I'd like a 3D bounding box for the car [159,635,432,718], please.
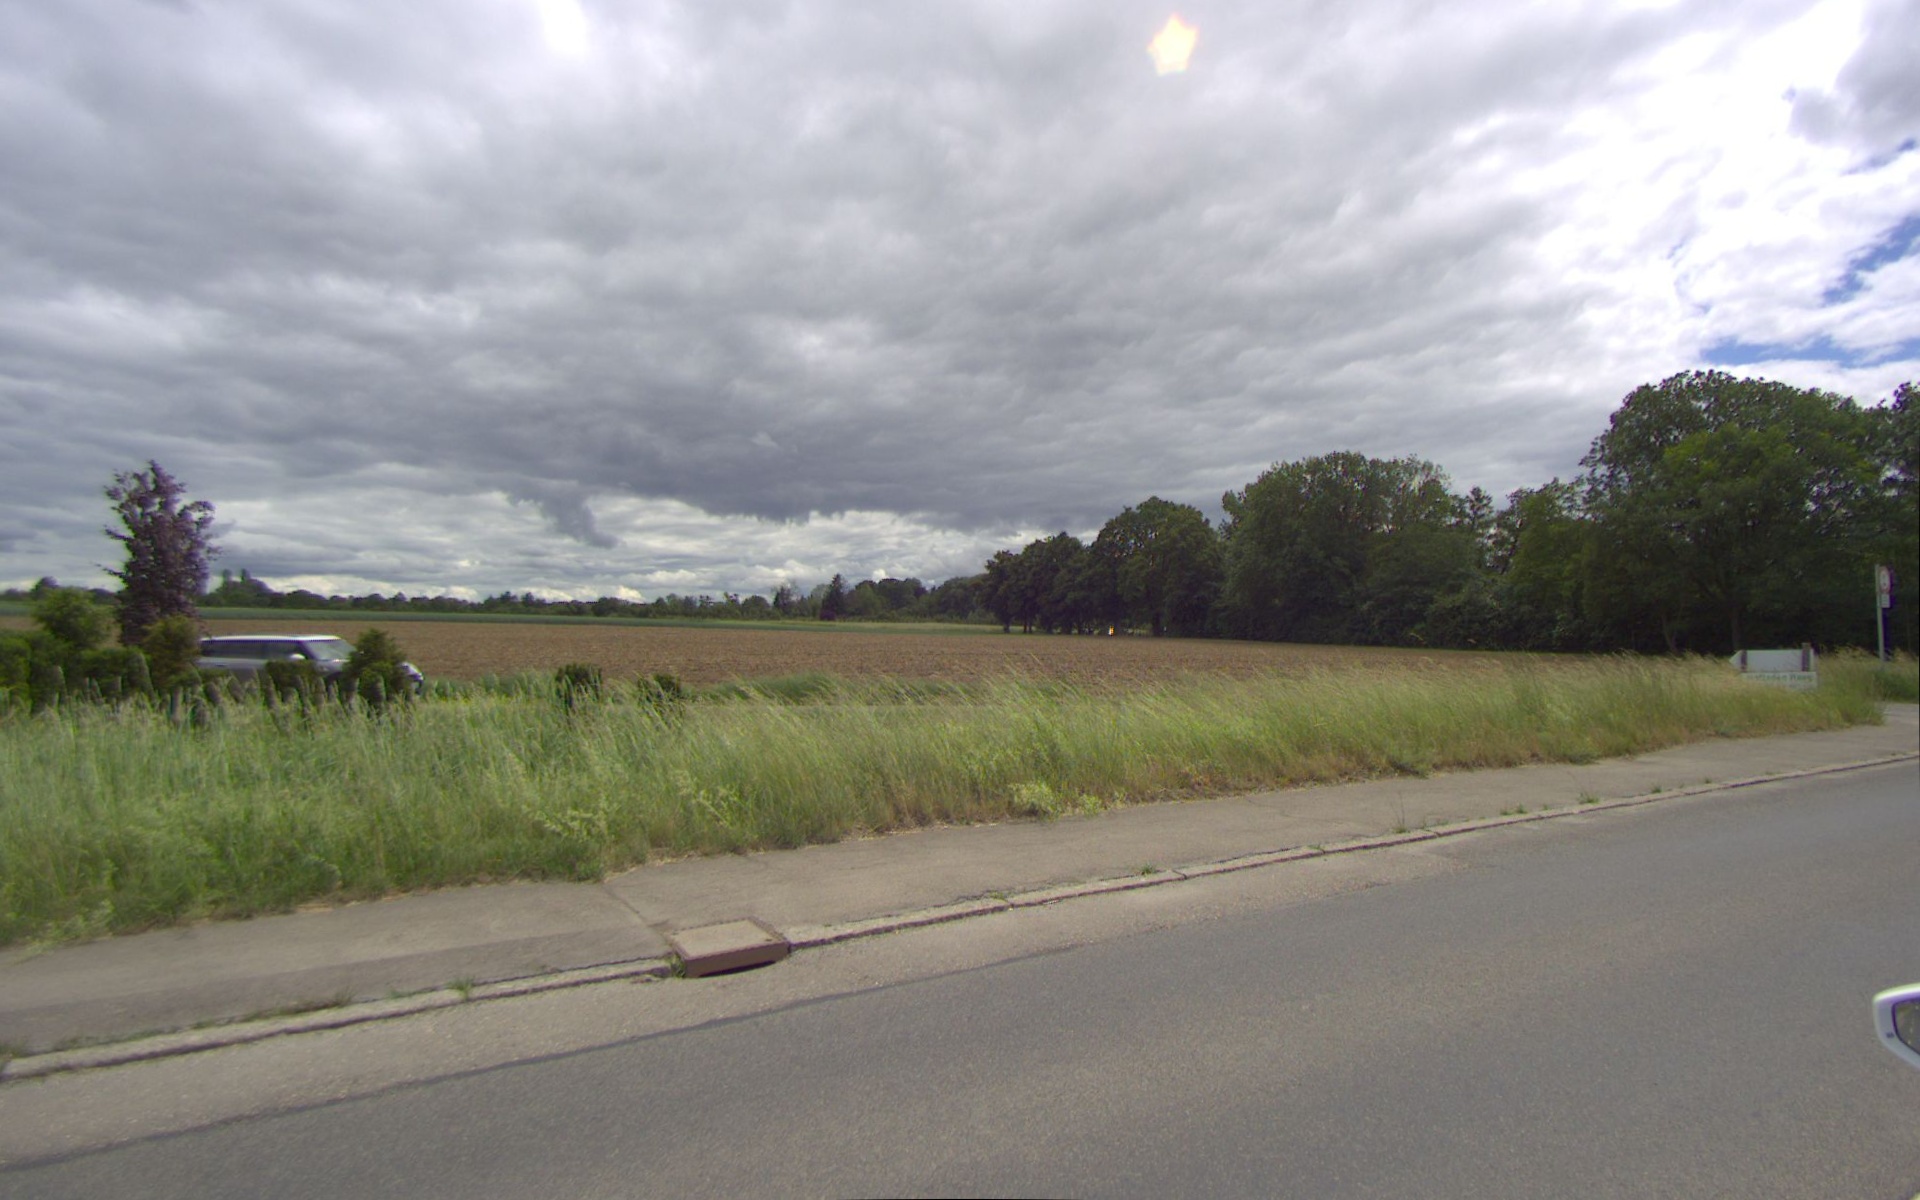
[{"bbox_3d":[-12.751,1.448,19.493,3.923,1.473,1.975,1,-1,-3],"label":"car"}]
